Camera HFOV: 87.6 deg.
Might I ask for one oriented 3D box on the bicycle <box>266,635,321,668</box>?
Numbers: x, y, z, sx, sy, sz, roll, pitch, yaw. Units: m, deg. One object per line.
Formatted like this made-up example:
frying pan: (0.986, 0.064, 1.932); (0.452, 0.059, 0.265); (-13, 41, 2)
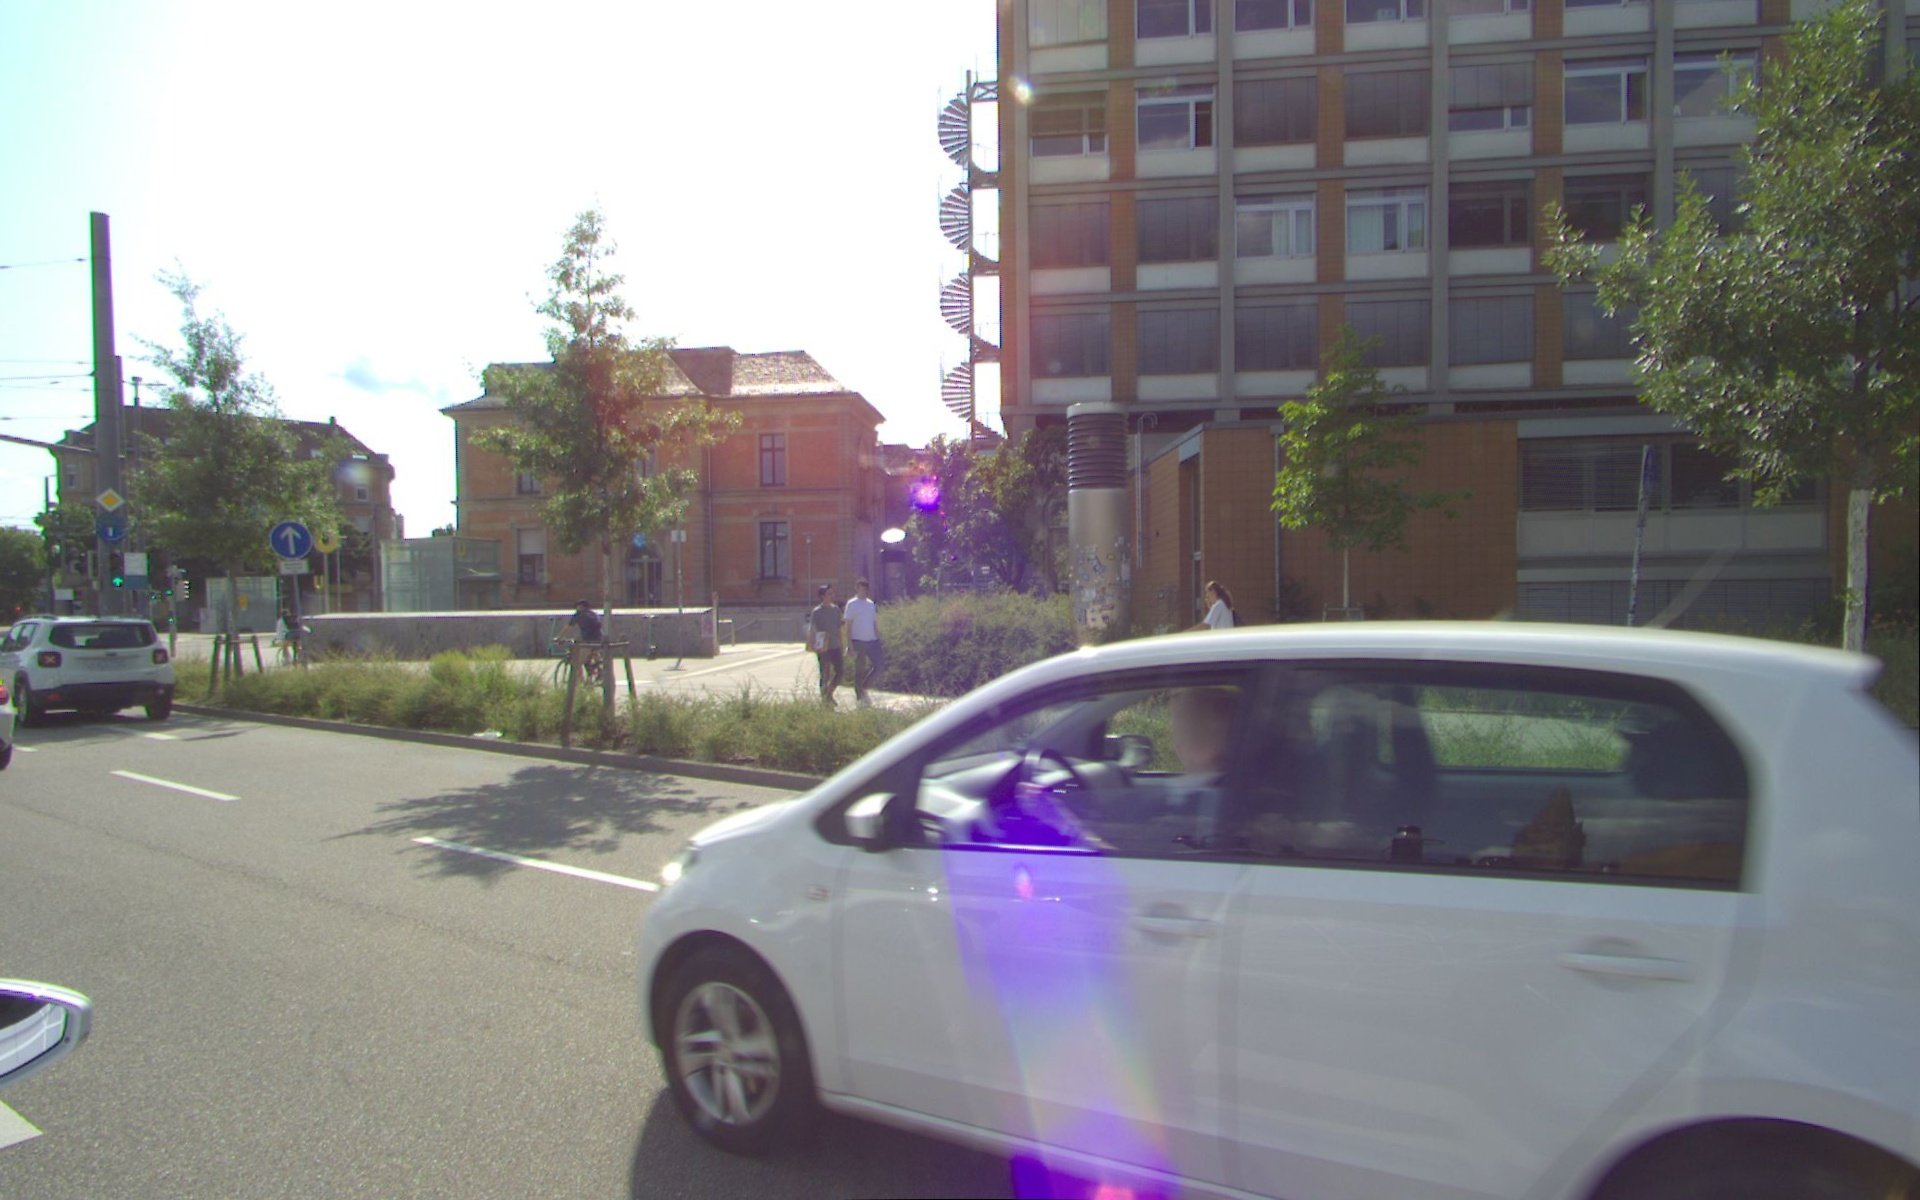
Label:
bicycle: (-16.624, 1.278, 24.977); (1.599, 0.786, 0.583); (-1, 0, 34)

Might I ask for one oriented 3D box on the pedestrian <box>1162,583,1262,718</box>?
pedestrian: (3.232, 0.627, 12.848); (1.080, 1.645, 0.612); (-1, 3, 31)

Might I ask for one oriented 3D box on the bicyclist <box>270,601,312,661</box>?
bicyclist: (-16.715, 0.766, 25.018); (0.763, 1.470, 0.606); (0, 0, 33)

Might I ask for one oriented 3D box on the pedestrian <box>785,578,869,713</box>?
pedestrian: (-1.852, 0.607, 13.914); (0.736, 1.778, 0.882); (-4, 3, -40)

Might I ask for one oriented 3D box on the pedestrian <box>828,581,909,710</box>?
pedestrian: (-1.318, 0.629, 14.406); (0.736, 1.770, 0.882); (-4, 3, -40)

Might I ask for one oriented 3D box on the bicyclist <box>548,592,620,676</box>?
bicyclist: (-5.824, 0.509, 15.521); (0.912, 1.237, 0.632); (0, 3, 38)

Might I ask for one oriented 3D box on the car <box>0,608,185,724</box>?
car: (-14.406, 1.008, 16.416); (3.951, 1.673, 1.829); (-2, -1, 39)

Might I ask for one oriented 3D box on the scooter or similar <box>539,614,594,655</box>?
scooter or similar: (-11.248, 0.989, 28.612); (1.420, 1.133, 0.465); (0, 2, 13)

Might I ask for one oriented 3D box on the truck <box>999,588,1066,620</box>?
truck: (4.918, 0.285, 67.495); (4.304, 2.039, 2.000); (0, -2, 11)

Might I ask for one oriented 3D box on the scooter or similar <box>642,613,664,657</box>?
scooter or similar: (-8.337, 0.930, 27.234); (0.457, 1.119, 1.316); (-1, 1, -13)

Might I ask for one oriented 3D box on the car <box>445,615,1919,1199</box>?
car: (0.423, 0.791, 3.073); (3.939, 1.440, 1.648); (-1, 0, 29)

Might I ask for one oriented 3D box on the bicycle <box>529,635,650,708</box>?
bicycle: (-5.768, 1.077, 15.552); (1.936, 0.983, 0.843); (-1, 3, 38)

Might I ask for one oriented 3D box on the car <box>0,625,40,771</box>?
car: (-11.316, 0.997, 10.467); (3.631, 1.437, 1.844); (-1, -1, 36)

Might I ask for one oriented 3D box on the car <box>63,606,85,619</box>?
car: (-116.121, 1.625, 131.230); (1.820, 1.673, 3.971); (0, -1, -37)
